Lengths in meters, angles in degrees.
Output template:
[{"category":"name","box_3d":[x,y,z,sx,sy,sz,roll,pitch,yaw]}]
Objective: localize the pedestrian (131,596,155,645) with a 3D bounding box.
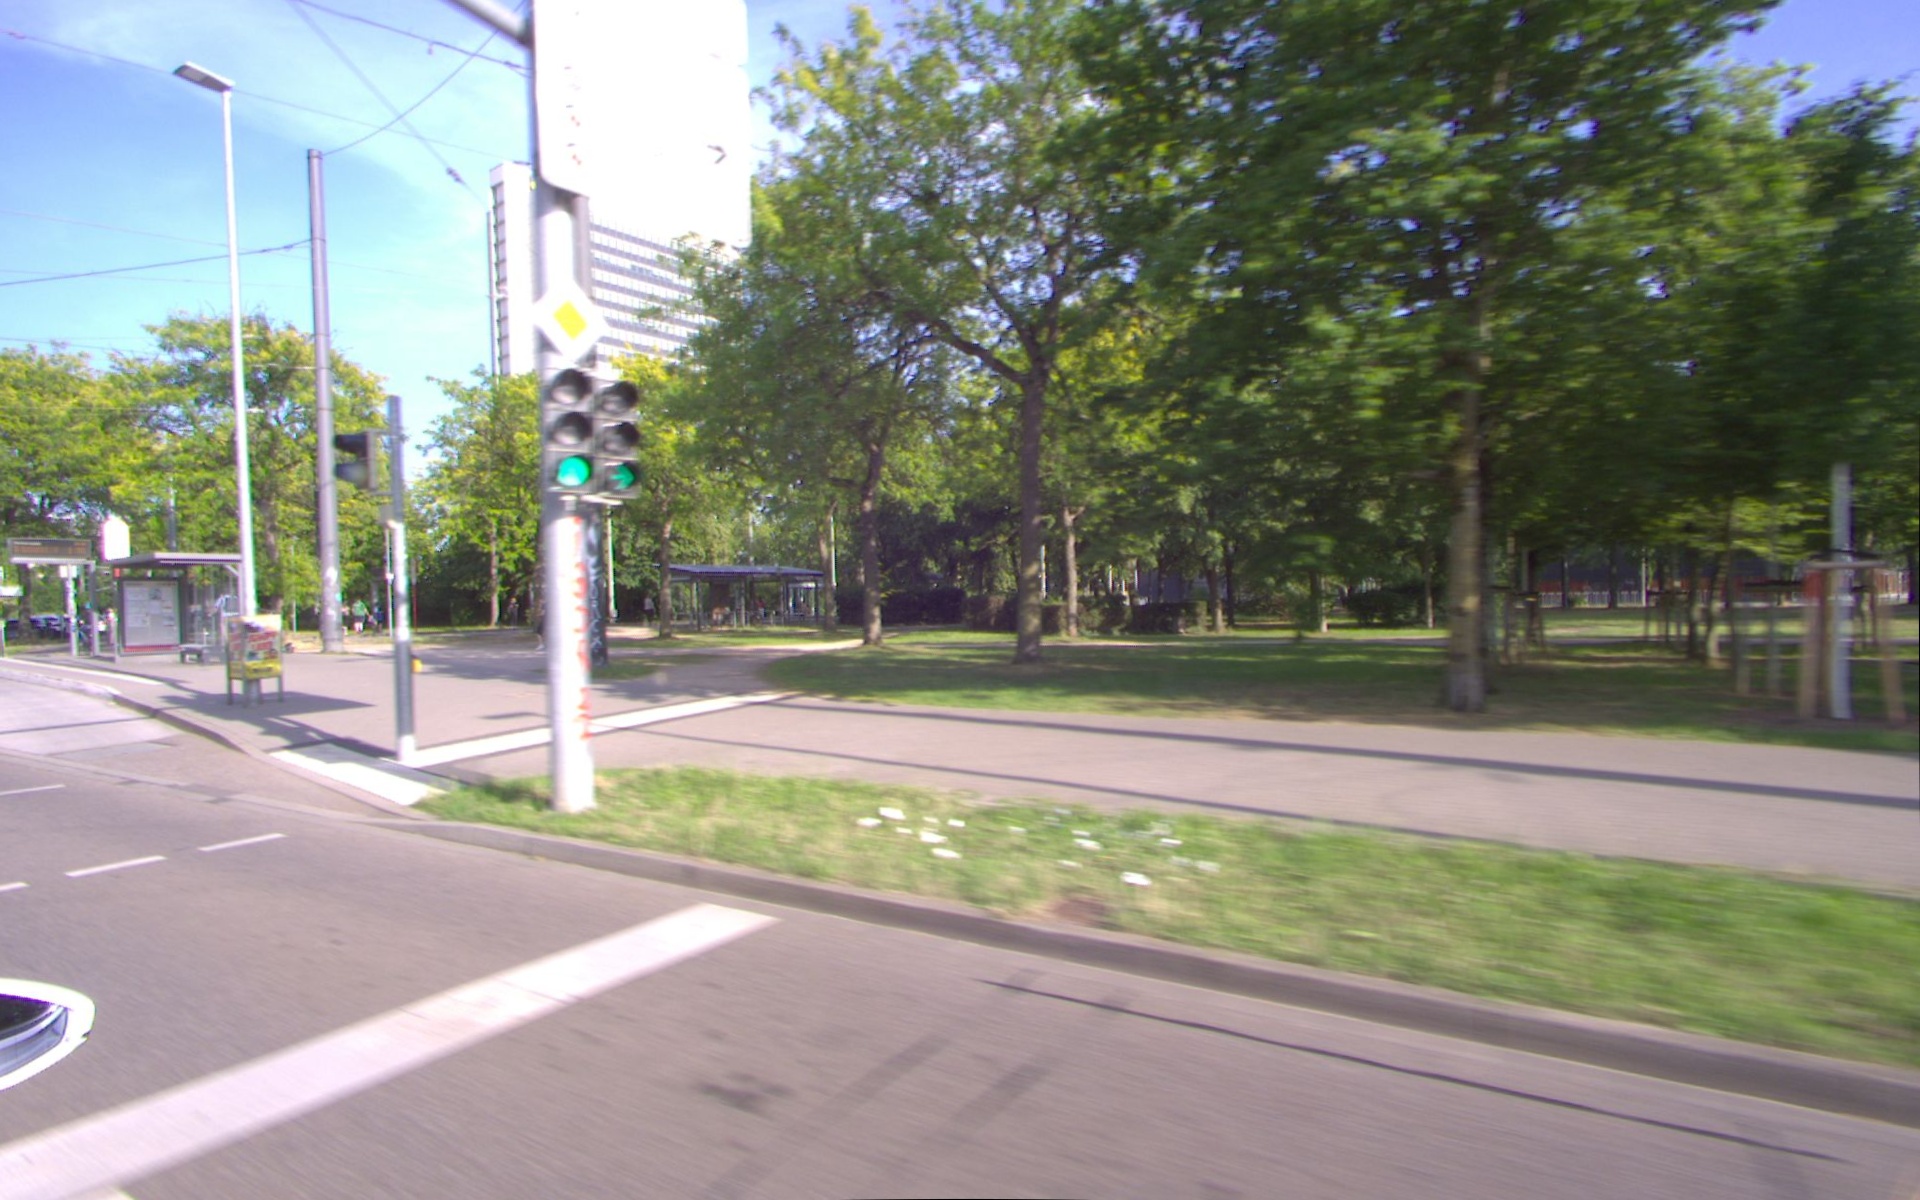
[{"category":"pedestrian","box_3d":[-30.470,0.777,37.328,0.581,1.800,0.575,0,-1,40]}]

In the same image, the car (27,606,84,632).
[{"category":"car","box_3d":[-59.070,1.197,65.465,1.832,1.536,3.980,-3,1,-29]}]

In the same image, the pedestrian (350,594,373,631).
[{"category":"pedestrian","box_3d":[-28.261,0.590,47.265,0.681,1.687,0.639,0,1,32]}]

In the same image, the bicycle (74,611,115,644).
[{"category":"bicycle","box_3d":[-30.424,0.950,35.190,1.711,1.103,0.638,-1,3,36]}]

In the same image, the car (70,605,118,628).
[{"category":"car","box_3d":[-64.161,1.194,74.267,1.832,1.536,3.980,-3,1,-29]}]

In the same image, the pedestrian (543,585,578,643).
[{"category":"pedestrian","box_3d":[-13.397,0.489,33.579,0.863,1.922,0.673,0,-1,5]}]

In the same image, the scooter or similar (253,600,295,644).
[{"category":"scooter or similar","box_3d":[-19.882,0.649,29.016,1.115,1.248,0.351,-1,1,18]}]

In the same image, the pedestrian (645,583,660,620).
[{"category":"pedestrian","box_3d":[-15.837,0.090,51.573,0.594,1.891,0.462,-1,-1,6]}]

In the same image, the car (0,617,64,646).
[{"category":"car","box_3d":[-56.107,1.871,60.563,1.831,1.536,3.981,-3,1,-28]}]

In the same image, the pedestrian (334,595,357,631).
[{"category":"pedestrian","box_3d":[-29.131,0.602,47.480,0.681,1.687,0.639,0,1,32]}]

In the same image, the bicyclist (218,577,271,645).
[{"category":"bicyclist","box_3d":[-19.420,0.298,27.178,1.123,1.770,0.647,-1,4,31]}]

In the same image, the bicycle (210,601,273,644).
[{"category":"bicycle","box_3d":[-19.610,0.607,27.318,1.912,1.103,0.639,-1,3,32]}]

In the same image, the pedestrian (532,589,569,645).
[{"category":"pedestrian","box_3d":[-13.425,0.567,32.848,0.863,1.800,0.673,0,-1,12]}]

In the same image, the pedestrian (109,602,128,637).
[{"category":"pedestrian","box_3d":[-41.120,0.932,48.920,0.636,1.687,0.684,-2,1,-42]}]

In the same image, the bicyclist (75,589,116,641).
[{"category":"bicyclist","box_3d":[-30.228,0.524,35.000,1.125,1.770,0.717,-1,4,36]}]
